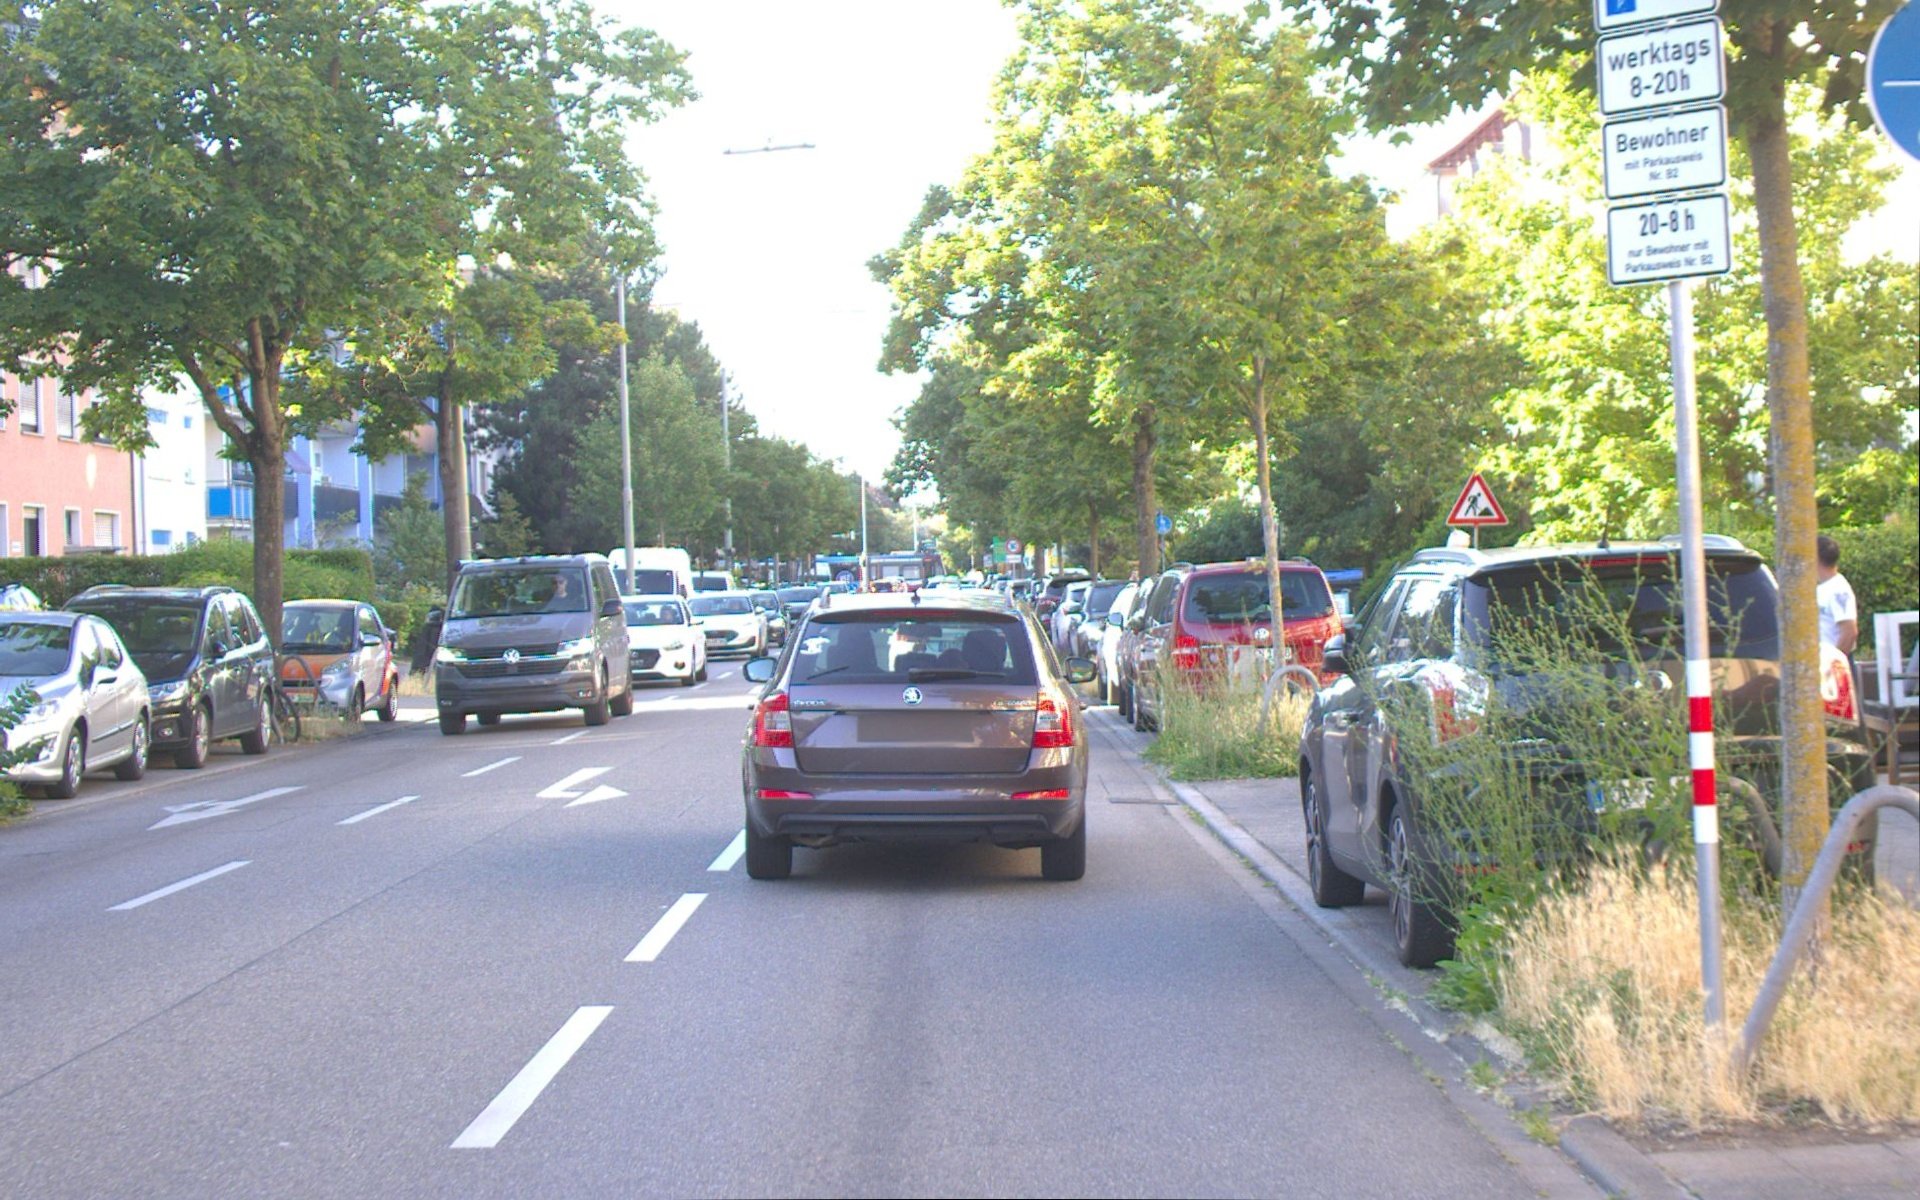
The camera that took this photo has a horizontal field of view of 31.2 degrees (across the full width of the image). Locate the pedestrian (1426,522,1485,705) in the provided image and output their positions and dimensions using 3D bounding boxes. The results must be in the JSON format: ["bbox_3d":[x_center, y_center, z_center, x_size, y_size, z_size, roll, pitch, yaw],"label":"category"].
[{"bbox_3d":[5.080,0.137,35.284,0.548,1.843,0.764,-1,0,7],"label":"pedestrian"}]

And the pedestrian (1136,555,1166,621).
[{"bbox_3d":[5.525,-0.352,99.577,0.749,1.854,1.068,-2,0,-1],"label":"pedestrian"}]

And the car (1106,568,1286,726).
[{"bbox_3d":[2.525,0.472,37.527,1.636,1.563,4.000,-2,0,0],"label":"car"}]

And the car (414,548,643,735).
[{"bbox_3d":[-4.974,0.443,40.244,1.993,1.939,4.778,-3,0,0],"label":"car"}]

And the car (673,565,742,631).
[{"bbox_3d":[-7.984,-0.091,109.124,1.868,2.024,5.301,-1,0,-1],"label":"car"}]

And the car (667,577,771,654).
[{"bbox_3d":[-5.087,0.304,72.934,1.832,1.465,4.452,-4,0,0],"label":"car"}]

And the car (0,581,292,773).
[{"bbox_3d":[-7.990,0.697,33.986,1.784,1.727,4.617,-1,0,1],"label":"car"}]

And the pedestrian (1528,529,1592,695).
[{"bbox_3d":[6.202,0.122,35.546,0.510,1.691,0.527,-1,0,-5],"label":"pedestrian"}]

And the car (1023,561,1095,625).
[{"bbox_3d":[2.838,-0.218,99.327,1.800,1.802,4.424,0,0,-2],"label":"car"}]

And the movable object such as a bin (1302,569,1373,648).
[{"bbox_3d":[7.568,0.158,68.874,1.267,1.487,1.139,-4,0,10],"label":"movable object such as a bin"}]

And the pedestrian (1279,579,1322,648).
[{"bbox_3d":[6.133,0.237,61.923,0.673,1.230,0.790,-1,0,1],"label":"pedestrian"}]

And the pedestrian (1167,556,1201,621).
[{"bbox_3d":[6.468,-0.335,99.381,0.799,1.854,0.950,-2,0,11],"label":"pedestrian"}]

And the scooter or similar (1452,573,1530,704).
[{"bbox_3d":[5.437,0.391,35.241,0.746,1.313,0.721,-1,0,7],"label":"scooter or similar"}]

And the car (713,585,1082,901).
[{"bbox_3d":[-0.246,0.670,18.367,1.754,1.487,4.000,0,0,2],"label":"car"}]

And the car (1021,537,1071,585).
[{"bbox_3d":[3.056,-1.376,122.263,1.754,1.681,4.252,0,0,2],"label":"car"}]

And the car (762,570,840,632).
[{"bbox_3d":[-3.911,0.010,84.901,1.700,1.399,4.028,-3,0,0],"label":"car"}]

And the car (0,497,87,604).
[{"bbox_3d":[-15.749,-0.777,56.429,1.827,1.677,4.000,-1,0,-1],"label":"car"}]

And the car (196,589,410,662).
[{"bbox_3d":[-13.421,0.517,70.365,3.987,1.408,1.916,1,0,0],"label":"car"}]

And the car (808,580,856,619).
[{"bbox_3d":[-5.326,-0.024,142.384,1.879,1.537,4.267,-2,0,-3],"label":"car"}]

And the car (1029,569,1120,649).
[{"bbox_3d":[2.391,0.168,72.747,1.718,1.595,4.096,-2,0,0],"label":"car"}]

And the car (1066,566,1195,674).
[{"bbox_3d":[2.690,0.287,55.140,1.874,1.576,4.820,-3,0,1],"label":"car"}]

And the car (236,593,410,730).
[{"bbox_3d":[-7.962,0.744,43.153,1.499,1.611,2.861,-1,0,3],"label":"car"}]

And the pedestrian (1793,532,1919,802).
[{"bbox_3d":[5.427,0.388,20.485,0.555,1.562,0.748,-1,0,-18],"label":"pedestrian"}]

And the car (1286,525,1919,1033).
[{"bbox_3d":[2.424,0.578,13.451,1.792,1.626,4.029,-2,0,-1],"label":"car"}]

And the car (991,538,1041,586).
[{"bbox_3d":[2.286,-1.503,138.541,1.916,1.854,5.633,-1,0,2],"label":"car"}]

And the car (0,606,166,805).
[{"bbox_3d":[-7.990,0.845,29.018,1.682,1.516,4.191,-1,0,-2],"label":"car"}]

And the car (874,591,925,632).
[{"bbox_3d":[-2.274,0.412,128.628,1.781,1.475,3.971,0,0,-3],"label":"car"}]

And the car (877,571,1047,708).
[{"bbox_3d":[0.004,0.470,41.274,1.892,1.501,3.790,2,-1,-1],"label":"car"}]

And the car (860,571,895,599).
[{"bbox_3d":[-5.446,-0.984,225.886,1.993,1.744,4.001,-1,0,-5],"label":"car"}]

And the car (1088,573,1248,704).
[{"bbox_3d":[2.548,0.445,42.916,1.636,1.485,4.415,-2,0,0],"label":"car"}]

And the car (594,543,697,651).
[{"bbox_3d":[-7.817,-0.102,85.967,1.993,2.607,7.105,0,0,-1],"label":"car"}]

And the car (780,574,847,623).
[{"bbox_3d":[-4.610,-0.068,108.978,1.700,1.465,4.294,-2,0,2],"label":"car"}]

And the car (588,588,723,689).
[{"bbox_3d":[-4.852,0.582,55.246,1.816,1.441,4.110,-4,0,-1],"label":"car"}]

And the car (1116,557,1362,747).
[{"bbox_3d":[2.573,0.443,32.715,1.721,1.650,4.598,-1,0,-3],"label":"car"}]
